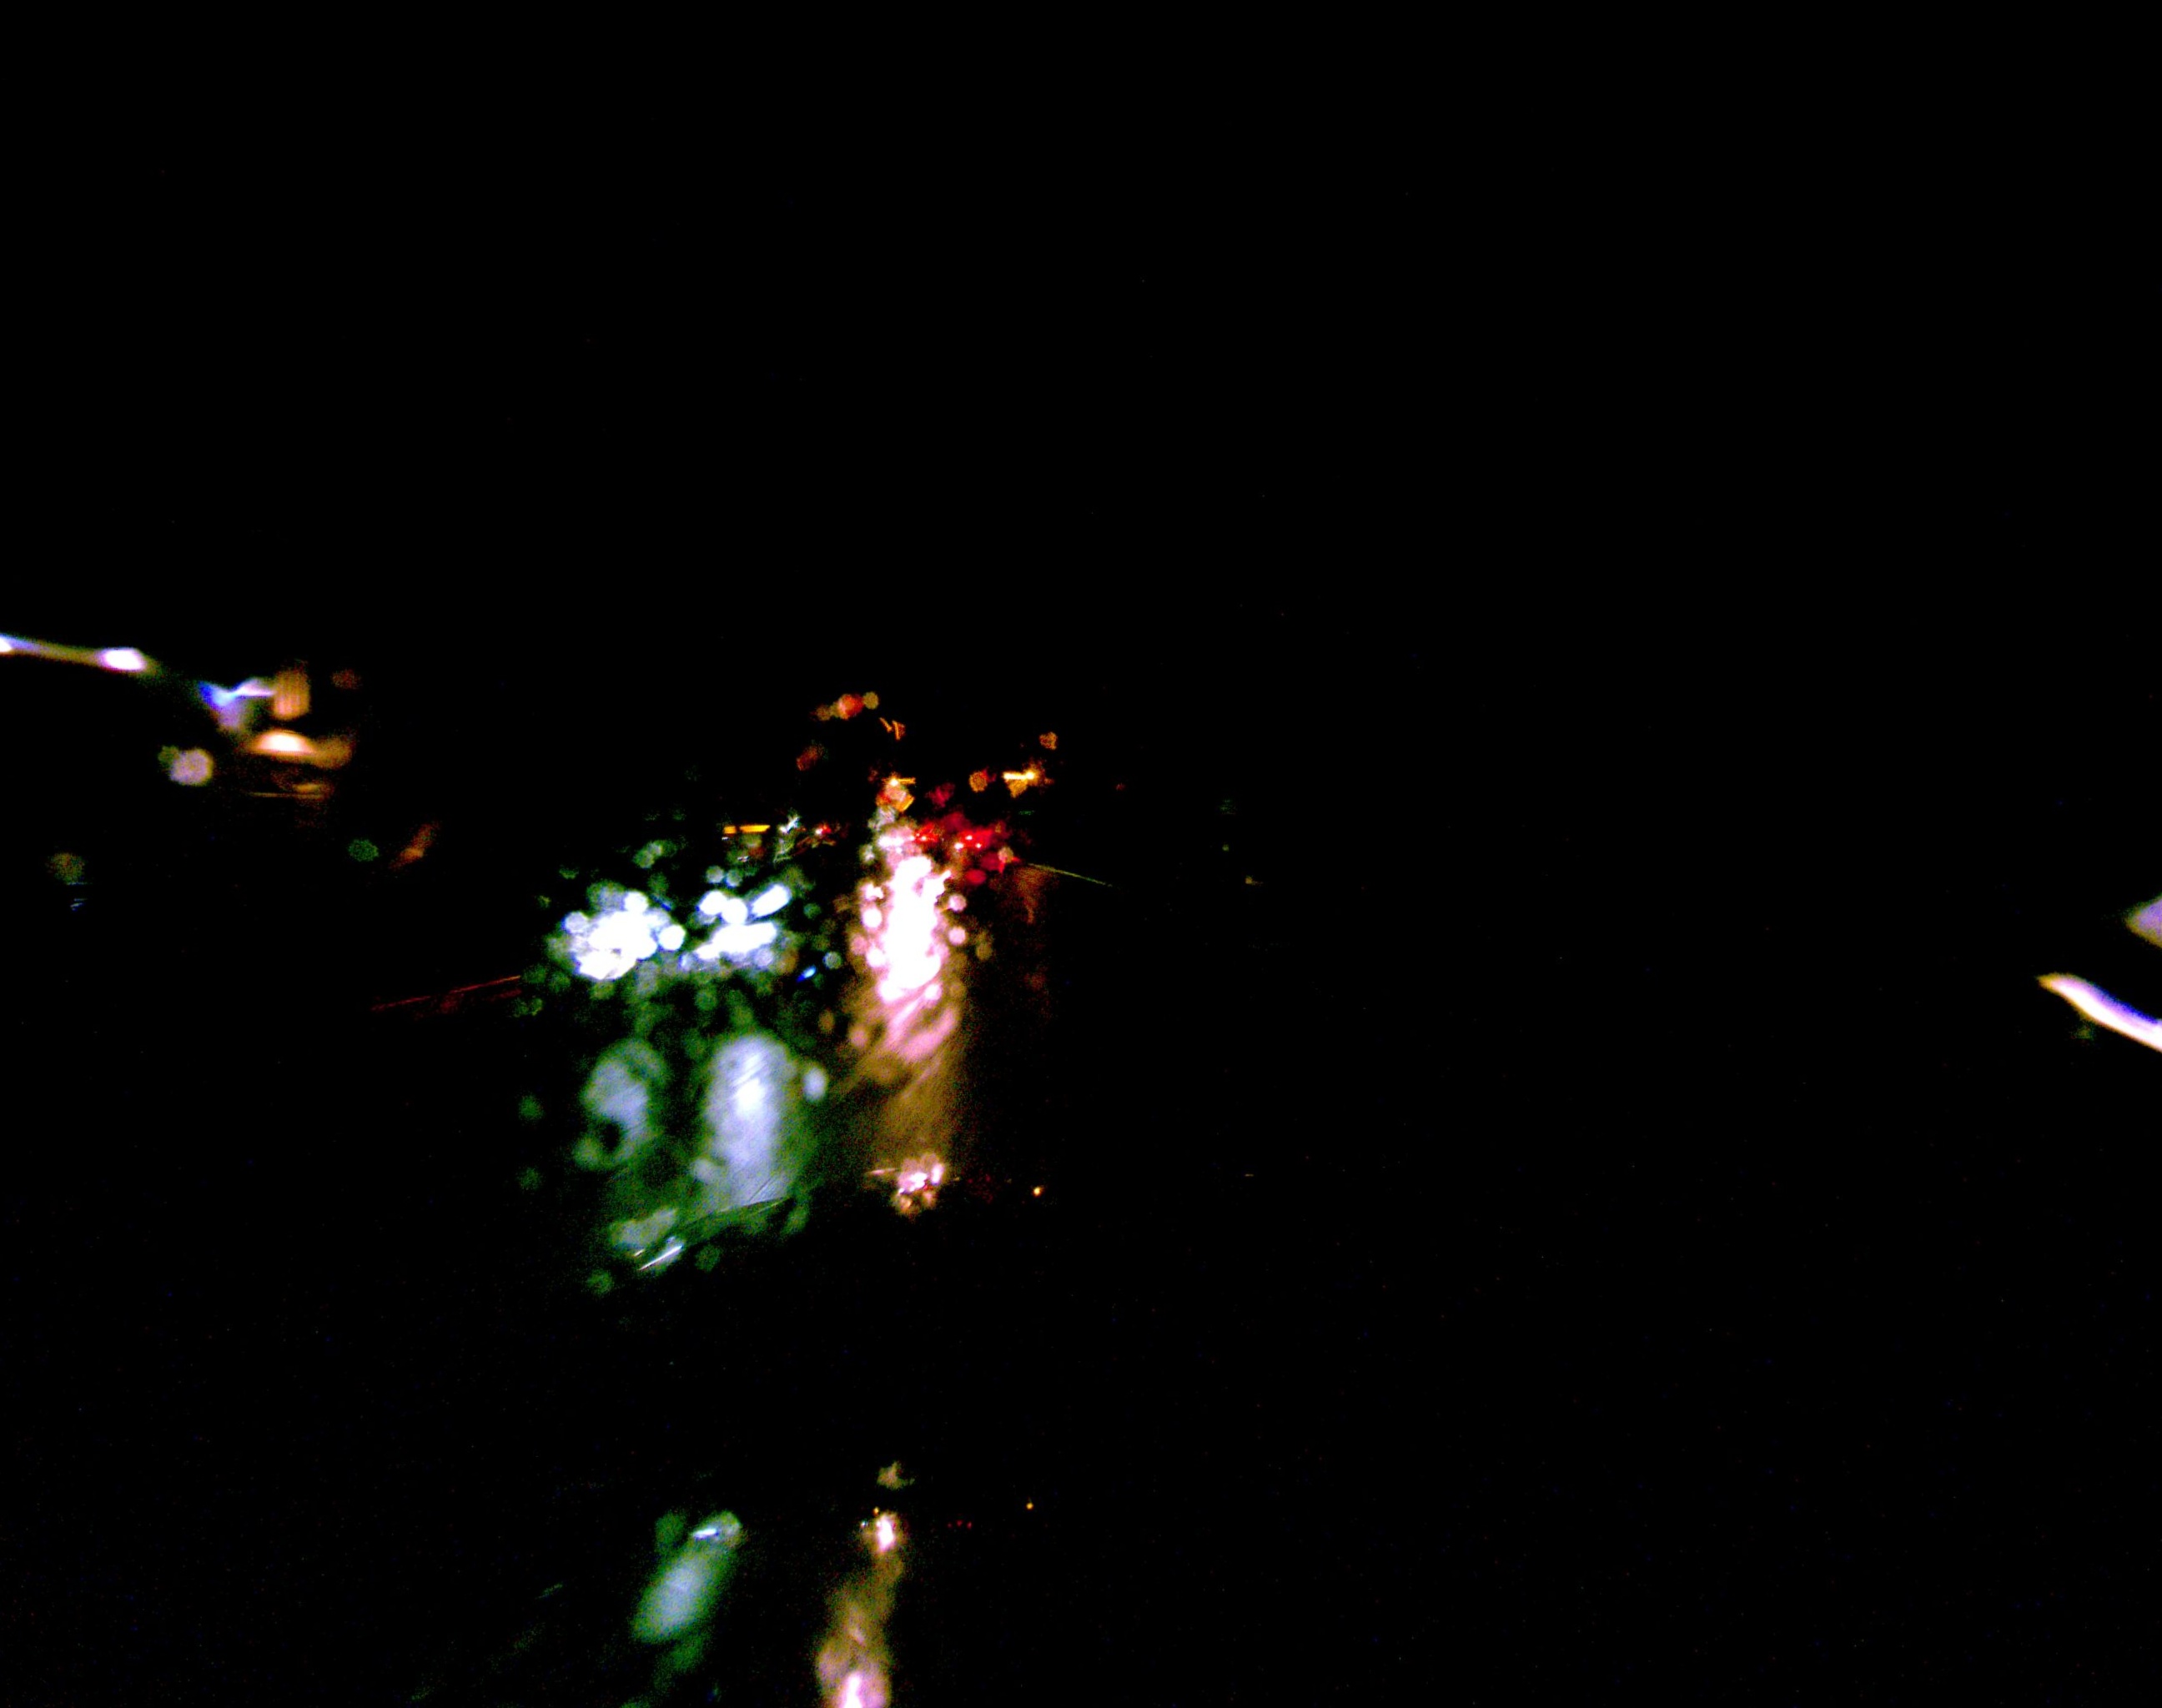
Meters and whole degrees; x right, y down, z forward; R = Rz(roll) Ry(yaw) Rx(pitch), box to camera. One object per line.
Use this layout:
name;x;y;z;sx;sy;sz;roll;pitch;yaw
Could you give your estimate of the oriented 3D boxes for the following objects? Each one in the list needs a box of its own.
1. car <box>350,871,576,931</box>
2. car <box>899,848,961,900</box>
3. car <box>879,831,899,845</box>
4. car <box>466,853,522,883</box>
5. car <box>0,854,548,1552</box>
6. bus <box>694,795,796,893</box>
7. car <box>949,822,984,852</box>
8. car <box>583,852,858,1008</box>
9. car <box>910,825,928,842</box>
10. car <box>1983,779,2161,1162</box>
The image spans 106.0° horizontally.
car;-16.356;1.180;21.949;1.831;1.376;4.752;0;0;12
car;-5.166;0.644;28.269;1.693;1.599;3.794;-1;1;-5
car;-22.563;-1.829;95.535;1.641;1.510;4.089;-4;2;-20
car;-34.970;0.798;48.641;1.946;1.697;4.588;0;-1;-26
car;-3.340;0.761;1.351;1.949;1.522;4.399;0;0;1
bus;-16.199;-0.466;38.480;2.910;3.868;12.937;-1;1;-29
car;-10.444;-1.630;73.906;2.543;2.497;5.688;-2;3;-14
car;-4.051;0.739;9.903;1.708;1.476;3.866;0;1;-2
car;-20.365;-2.509;102.199;1.997;2.014;3.980;0;-1;-14
car;6.833;0.504;2.920;1.972;1.691;4.716;0;-1;-45
